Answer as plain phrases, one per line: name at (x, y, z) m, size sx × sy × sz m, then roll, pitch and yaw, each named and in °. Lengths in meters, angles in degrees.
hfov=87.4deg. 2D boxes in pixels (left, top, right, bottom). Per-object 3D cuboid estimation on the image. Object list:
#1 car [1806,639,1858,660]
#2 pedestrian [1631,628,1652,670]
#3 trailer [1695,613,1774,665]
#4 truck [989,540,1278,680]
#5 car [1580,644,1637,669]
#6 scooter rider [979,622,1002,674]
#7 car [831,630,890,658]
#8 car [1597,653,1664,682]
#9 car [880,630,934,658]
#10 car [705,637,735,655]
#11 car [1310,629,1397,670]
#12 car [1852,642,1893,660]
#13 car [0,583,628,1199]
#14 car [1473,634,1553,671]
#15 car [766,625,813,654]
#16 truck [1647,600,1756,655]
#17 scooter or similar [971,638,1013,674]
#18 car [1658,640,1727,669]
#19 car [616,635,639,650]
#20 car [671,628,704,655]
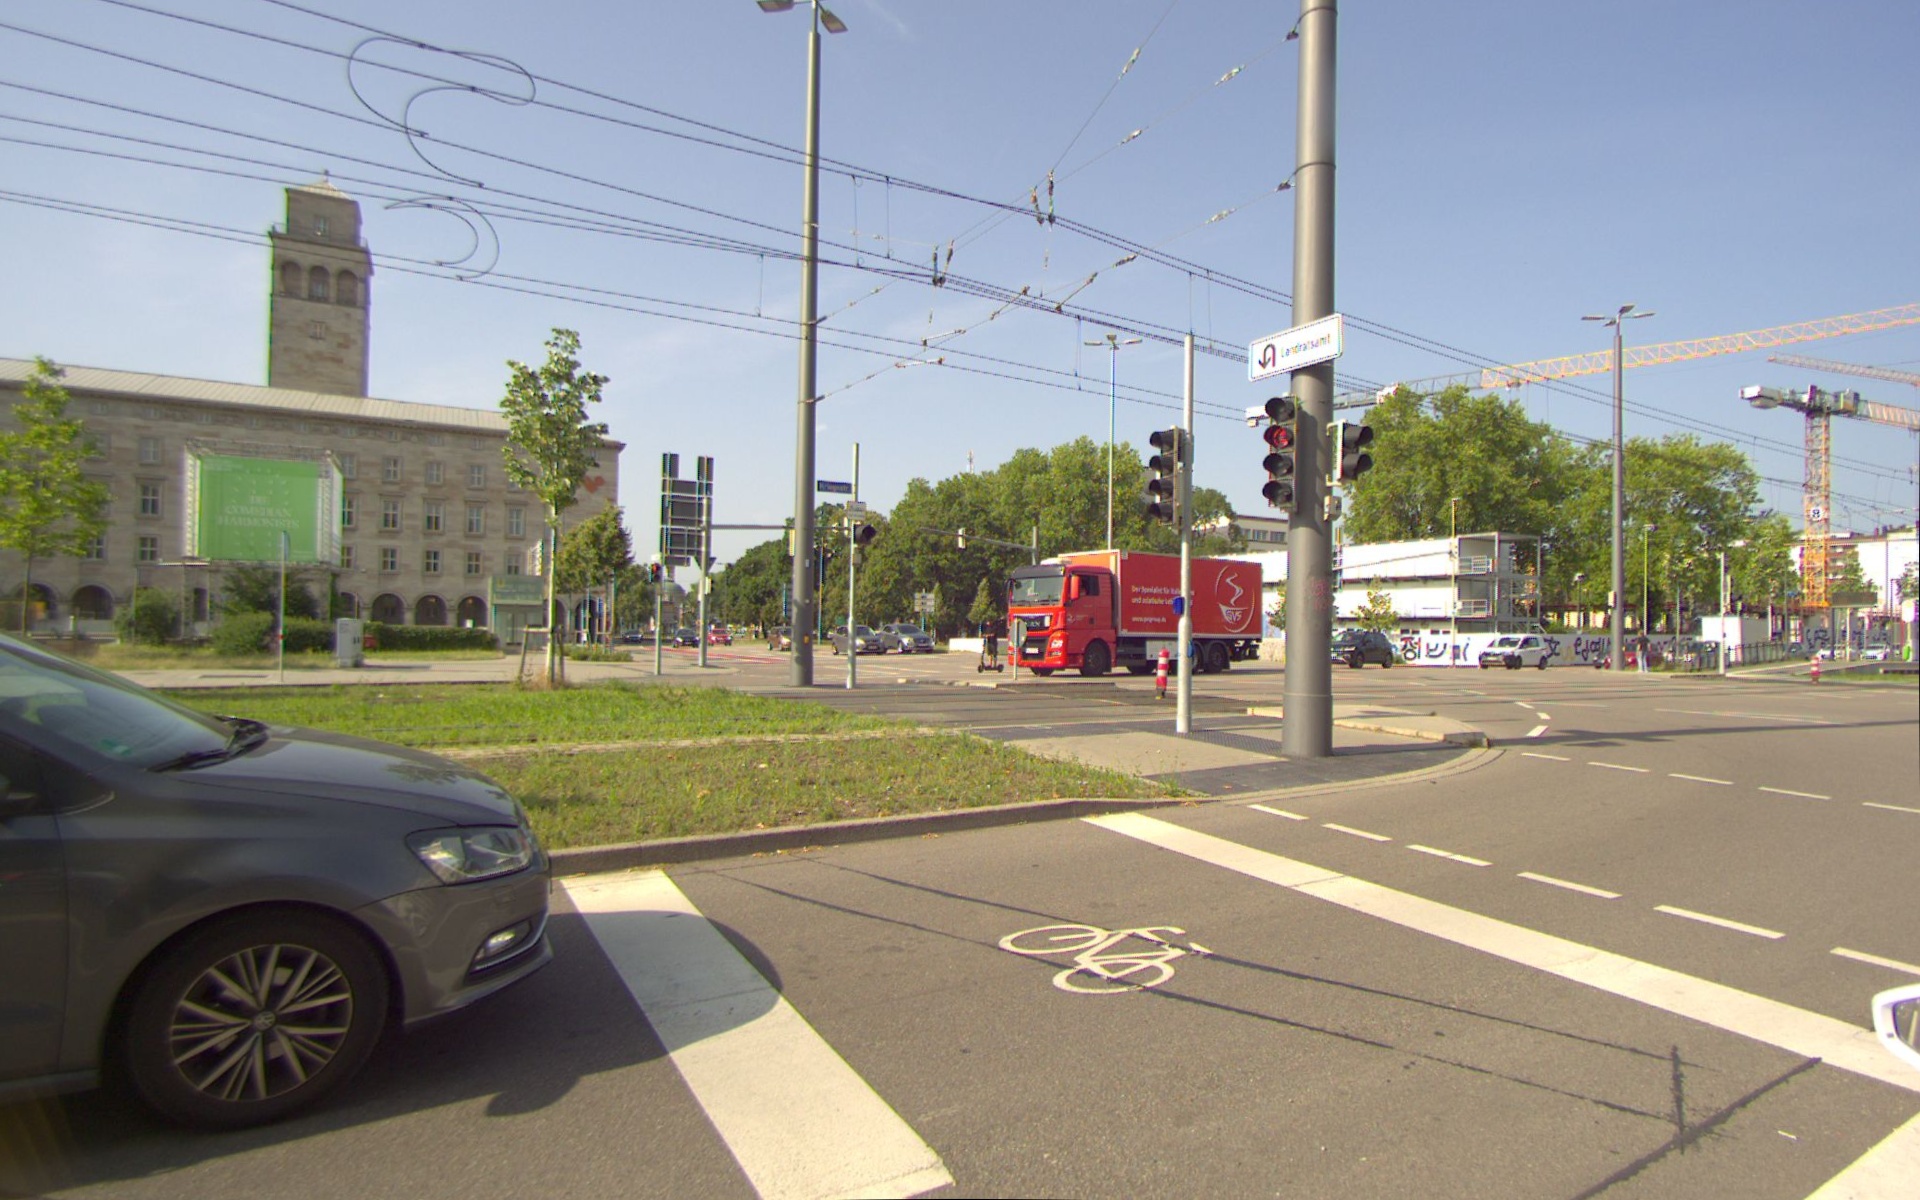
car at (68.160, 3.869, 78.494) m, size 4.564 × 1.602 × 1.783 m, roll 2°, pitch -2°, yaw -32°
pedestrian at (27.788, 2.010, 40.957) m, size 0.629 × 1.698 × 0.370 m, roll 1°, pitch -1°, yaw -15°
trailer at (44.810, 2.257, 58.088) m, size 4.967 × 2.818 × 2.033 m, roll 2°, pitch 0°, yaw -33°
truck at (5.837, 0.440, 32.074) m, size 10.331 × 3.859 × 2.949 m, roll 2°, pitch -2°, yaw -38°
car at (38.950, 3.358, 60.262) m, size 4.385 × 1.365 × 1.583 m, roll 2°, pitch -2°, yaw -39°
scooter rider at (1.006, 1.591, 33.315) m, size 0.544 × 1.720 × 0.533 m, roll 2°, pitch -1°, yaw -36°
car at (-5.365, 2.337, 53.752) m, size 1.691 × 1.398 × 3.622 m, roll 2°, pitch -2°, yaw -32°
car at (34.484, 3.445, 51.666) m, size 3.662 × 1.379 × 1.709 m, roll 2°, pitch -1°, yaw -36°
car at (-2.942, 2.419, 55.270) m, size 1.552 × 1.439 × 3.313 m, roll 2°, pitch -2°, yaw -32°
car at (-21.353, 4.060, 89.367) m, size 1.809 × 1.526 × 3.994 m, roll 1°, pitch -2°, yaw -25°
car at (16.361, 2.027, 41.676) m, size 3.966 × 1.622 × 1.627 m, roll 2°, pitch -2°, yaw -39°
car at (75.327, 4.205, 82.910) m, size 3.395 × 1.483 × 1.588 m, roll 2°, pitch -2°, yaw -32°
car at (-3.107, 0.685, 2.864) m, size 3.825 × 1.452 × 1.695 m, roll 1°, pitch 1°, yaw -31°
car at (28.176, 2.648, 51.134) m, size 4.468 × 1.812 × 1.607 m, roll 2°, pitch -2°, yaw -32°
car at (-11.228, 2.577, 65.983) m, size 1.974 × 1.855 × 3.973 m, roll 2°, pitch -2°, yaw -27°
truck at (51.500, 1.937, 69.659) m, size 8.789 × 3.634 × 3.006 m, roll 1°, pitch -2°, yaw -31°
scooter or similar at (1.061, 1.848, 33.354) m, size 1.371 × 1.162 × 0.535 m, roll 2°, pitch -2°, yaw -37°
car at (39.970, 2.954, 54.787) m, size 4.356 × 1.489 × 1.633 m, roll 2°, pitch -2°, yaw -33°
car at (-40.278, 5.166, 121.500) m, size 1.889 × 1.739 × 4.075 m, roll 2°, pitch -2°, yaw -29°
car at (-21.395, 3.247, 78.685) m, size 1.971 × 2.040 × 3.979 m, roll 1°, pitch -2°, yaw -22°
